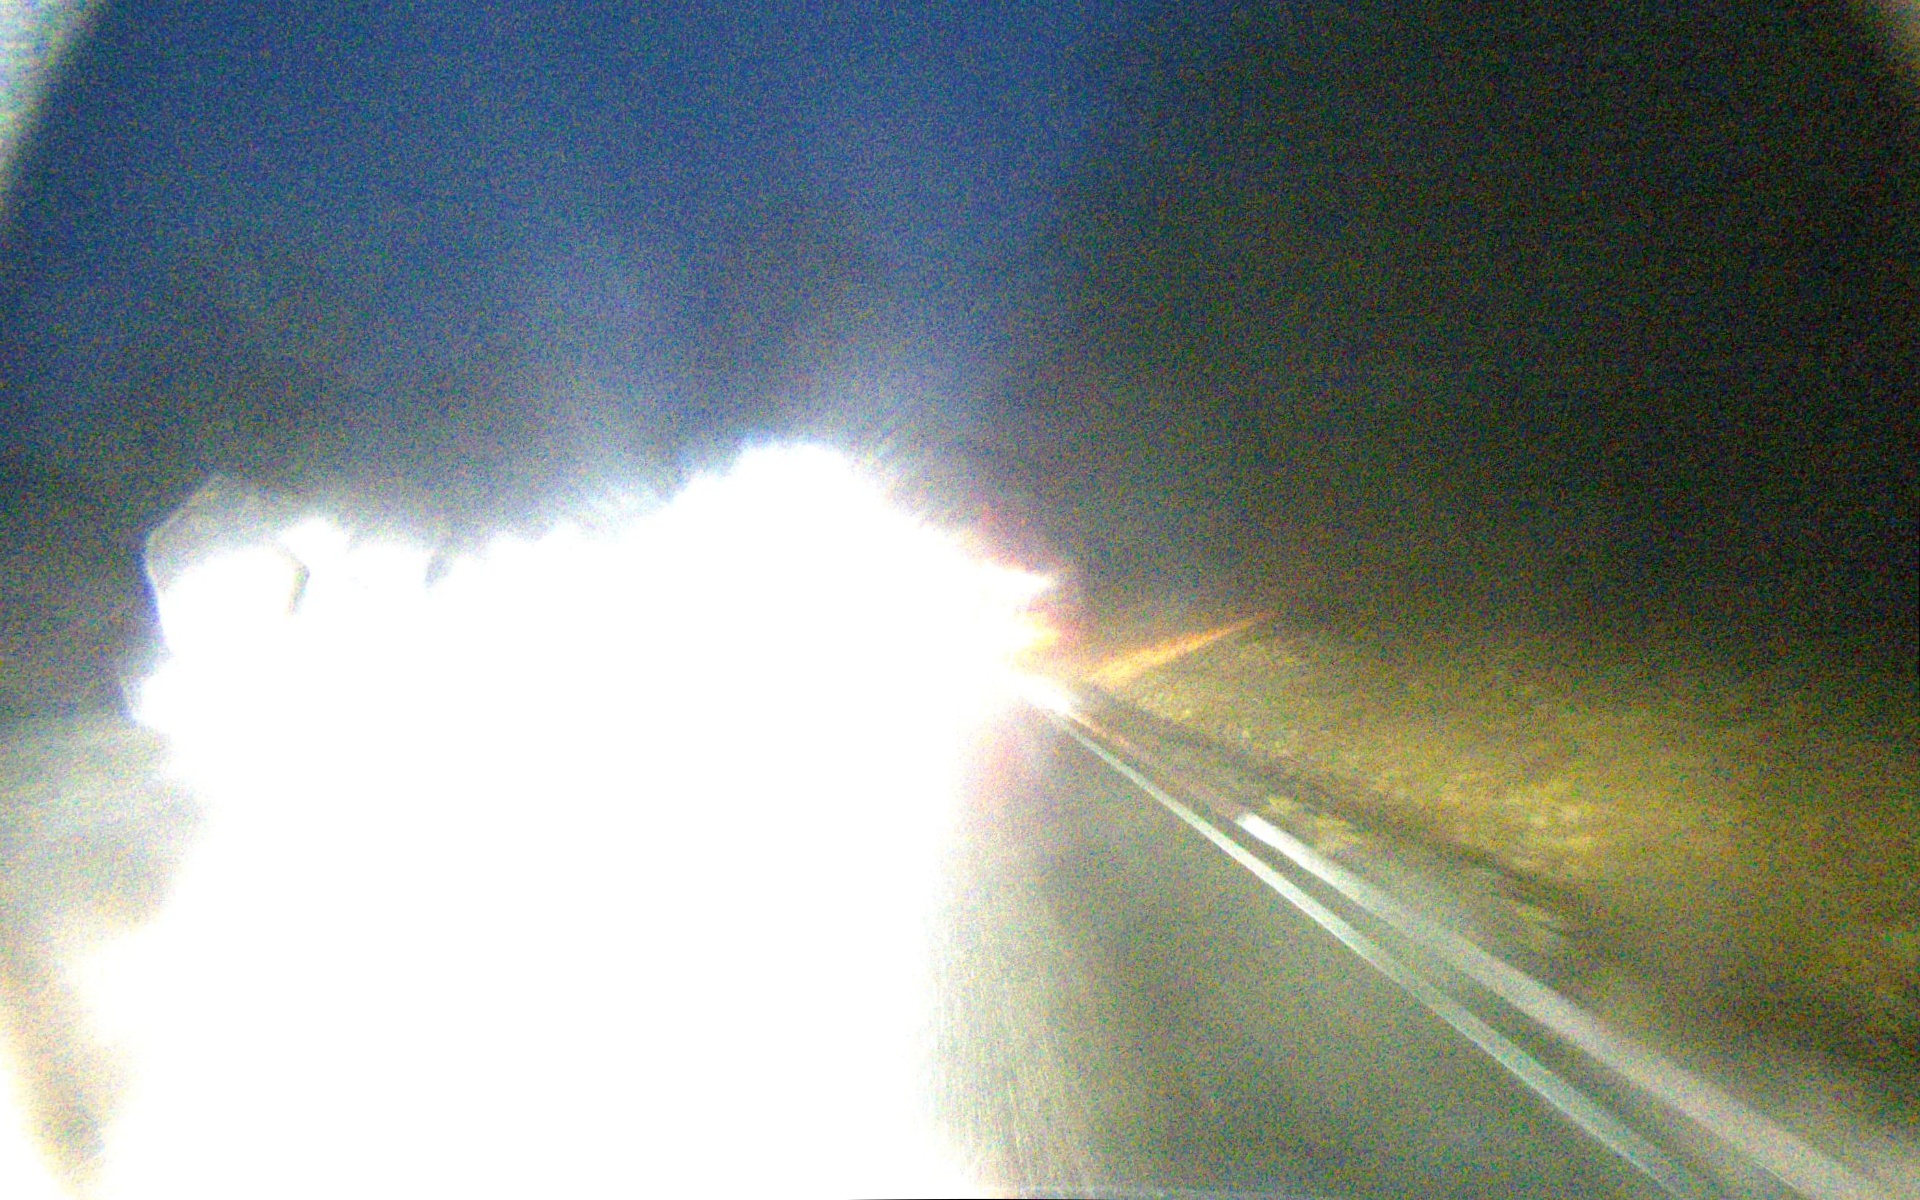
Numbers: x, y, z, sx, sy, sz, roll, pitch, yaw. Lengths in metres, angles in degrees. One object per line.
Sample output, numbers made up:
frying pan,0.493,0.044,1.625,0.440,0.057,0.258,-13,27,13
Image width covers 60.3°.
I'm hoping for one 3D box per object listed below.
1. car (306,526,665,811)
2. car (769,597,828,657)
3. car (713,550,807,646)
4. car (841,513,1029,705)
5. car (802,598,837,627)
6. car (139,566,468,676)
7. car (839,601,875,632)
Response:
car,-3.394,0.412,12.614,1.719,1.764,3.998,2,1,-3
car,-5.631,0.942,58.136,1.854,1.944,3.792,2,-1,-4
car,-4.705,-0.027,39.475,1.954,2.103,3.996,2,-1,-4
car,-0.446,0.097,24.966,2.488,2.541,5.711,-1,0,-3
car,-7.714,0.680,91.275,1.627,1.507,3.584,2,-1,-1
car,-11.113,0.336,28.287,4.815,1.765,1.998,-1,0,-5
car,-5.350,0.854,86.093,1.627,1.507,3.584,2,-1,-1
